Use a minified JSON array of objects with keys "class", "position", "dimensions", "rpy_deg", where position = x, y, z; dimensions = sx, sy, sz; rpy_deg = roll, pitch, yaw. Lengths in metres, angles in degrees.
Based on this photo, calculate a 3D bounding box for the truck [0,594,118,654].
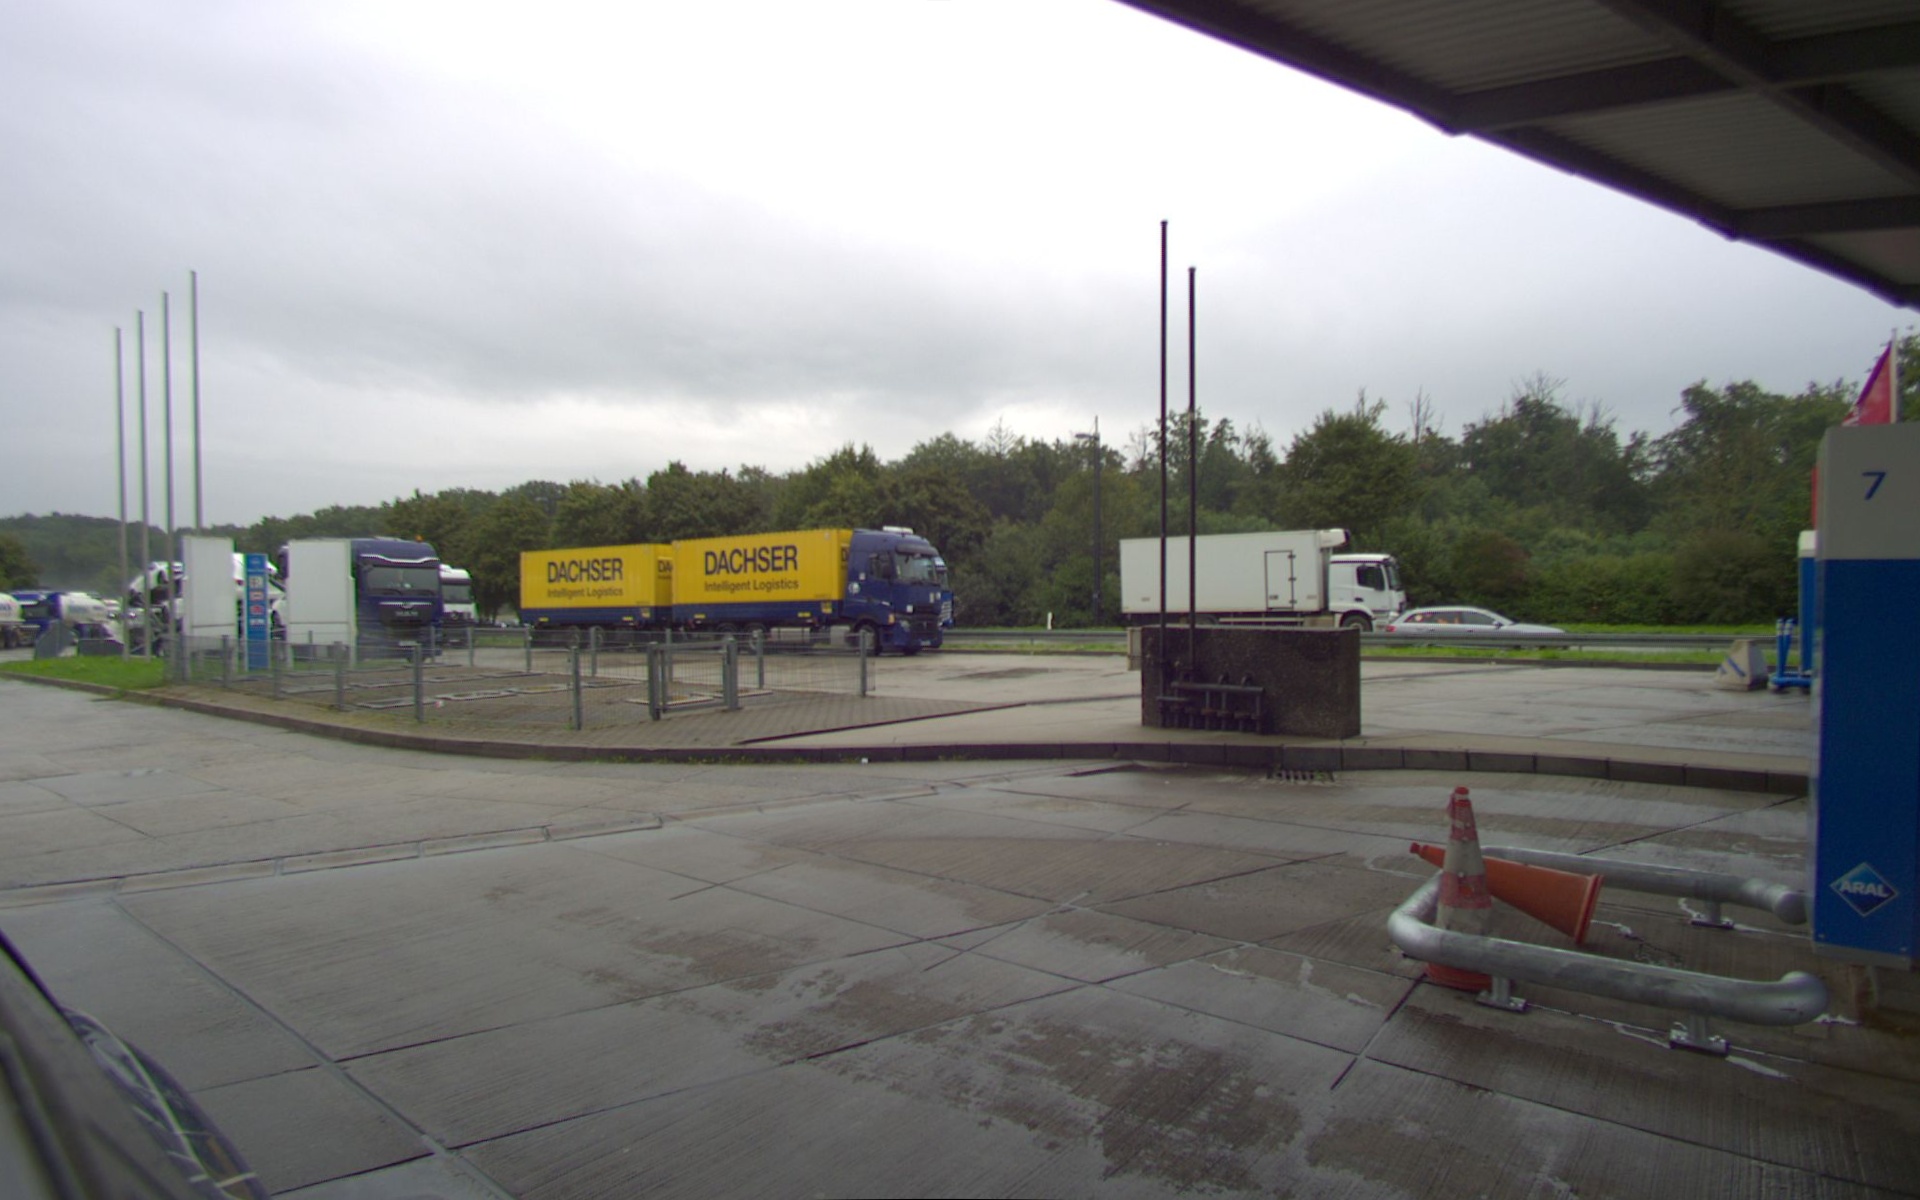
[{"class":"truck","position":[-61.472,1.618,68.658],"dimensions":[3.454,3.633,14.709],"rpy_deg":[-1,-1,-27]}]

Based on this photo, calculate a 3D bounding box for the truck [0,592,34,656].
[{"class":"truck","position":[-55.135,1.336,53.690],"dimensions":[3.454,3.633,14.444],"rpy_deg":[-1,-1,-19]}]

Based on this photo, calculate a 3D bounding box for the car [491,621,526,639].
[{"class":"car","position":[-48.128,3.220,107.900],"dimensions":[3.998,1.837,1.865],"rpy_deg":[-1,0,41]}]

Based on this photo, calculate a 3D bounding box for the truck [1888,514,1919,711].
[{"class":"truck","position":[15.011,0.119,11.949],"dimensions":[5.859,2.513,2.208],"rpy_deg":[-1,0,41]}]

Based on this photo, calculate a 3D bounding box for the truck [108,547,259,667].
[{"class":"truck","position":[-29.569,0.295,38.445],"dimensions":[6.605,4.213,2.635],"rpy_deg":[-1,0,35]}]

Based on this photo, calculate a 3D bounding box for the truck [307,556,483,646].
[{"class":"truck","position":[-27.298,0.099,48.627],"dimensions":[10.654,3.946,2.727],"rpy_deg":[-1,0,33]}]

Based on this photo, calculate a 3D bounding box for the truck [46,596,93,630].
[{"class":"truck","position":[-139.642,2.026,158.614],"dimensions":[11.498,5.160,3.109],"rpy_deg":[-1,0,36]}]

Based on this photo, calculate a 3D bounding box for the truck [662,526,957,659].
[{"class":"truck","position":[-5.318,-0.184,34.025],"dimensions":[10.654,3.946,2.727],"rpy_deg":[-1,0,33]}]

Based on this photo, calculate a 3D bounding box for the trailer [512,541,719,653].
[{"class":"trailer","position":[-13.479,-0.079,39.255],"dimensions":[8.679,3.946,2.728],"rpy_deg":[-1,0,32]}]

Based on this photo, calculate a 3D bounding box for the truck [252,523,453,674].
[{"class":"truck","position":[-18.990,0.007,31.475],"dimensions":[7.089,4.213,2.635],"rpy_deg":[-1,0,35]}]

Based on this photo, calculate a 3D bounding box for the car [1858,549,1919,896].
[{"class":"car","position":[6.927,0.538,3.795],"dimensions":[5.269,1.620,1.842],"rpy_deg":[-1,0,41]}]

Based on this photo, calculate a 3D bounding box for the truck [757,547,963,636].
[{"class":"truck","position":[-4.858,-0.321,47.640],"dimensions":[10.195,3.836,2.395],"rpy_deg":[-1,0,31]}]

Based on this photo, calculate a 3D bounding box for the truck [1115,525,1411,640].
[{"class":"truck","position":[10.989,-0.525,37.444],"dimensions":[10.195,3.836,2.395],"rpy_deg":[-1,0,31]}]

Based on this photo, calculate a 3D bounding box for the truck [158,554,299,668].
[{"class":"truck","position":[-26.087,0.391,36.072],"dimensions":[4.738,3.800,2.635],"rpy_deg":[-1,0,34]}]

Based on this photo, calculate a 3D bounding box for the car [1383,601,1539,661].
[{"class":"car","position":[14.645,0.865,29.608],"dimensions":[3.985,1.641,1.759],"rpy_deg":[0,0,31]}]
